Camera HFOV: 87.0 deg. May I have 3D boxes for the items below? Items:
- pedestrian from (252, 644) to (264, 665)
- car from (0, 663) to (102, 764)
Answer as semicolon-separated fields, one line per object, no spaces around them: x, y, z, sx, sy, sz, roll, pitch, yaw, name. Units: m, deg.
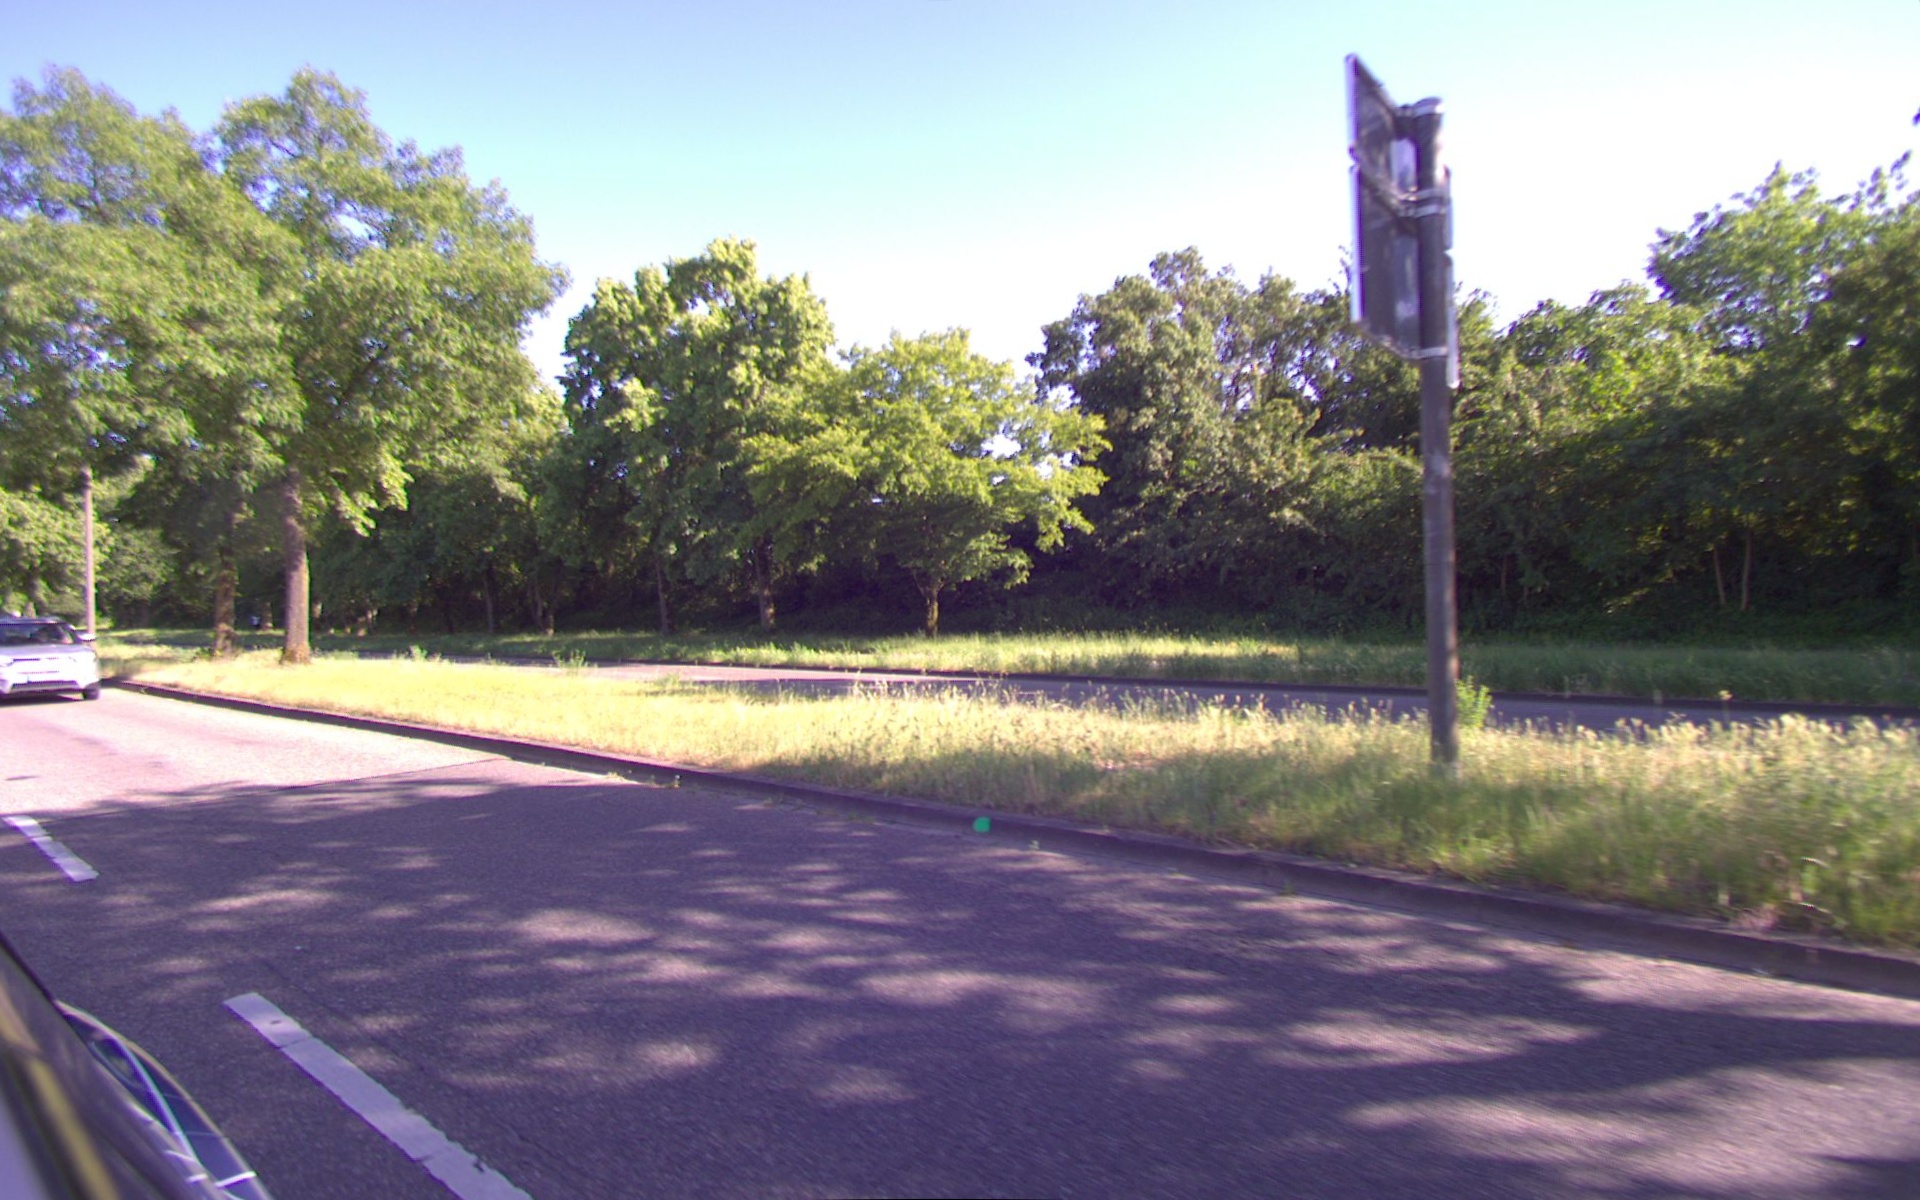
-60.162;4.676;86.732;0.672;1.671;0.681;-5;3;-38;pedestrian
-17.892;2.079;19.248;4.103;1.622;1.766;-2;-1;40;car
